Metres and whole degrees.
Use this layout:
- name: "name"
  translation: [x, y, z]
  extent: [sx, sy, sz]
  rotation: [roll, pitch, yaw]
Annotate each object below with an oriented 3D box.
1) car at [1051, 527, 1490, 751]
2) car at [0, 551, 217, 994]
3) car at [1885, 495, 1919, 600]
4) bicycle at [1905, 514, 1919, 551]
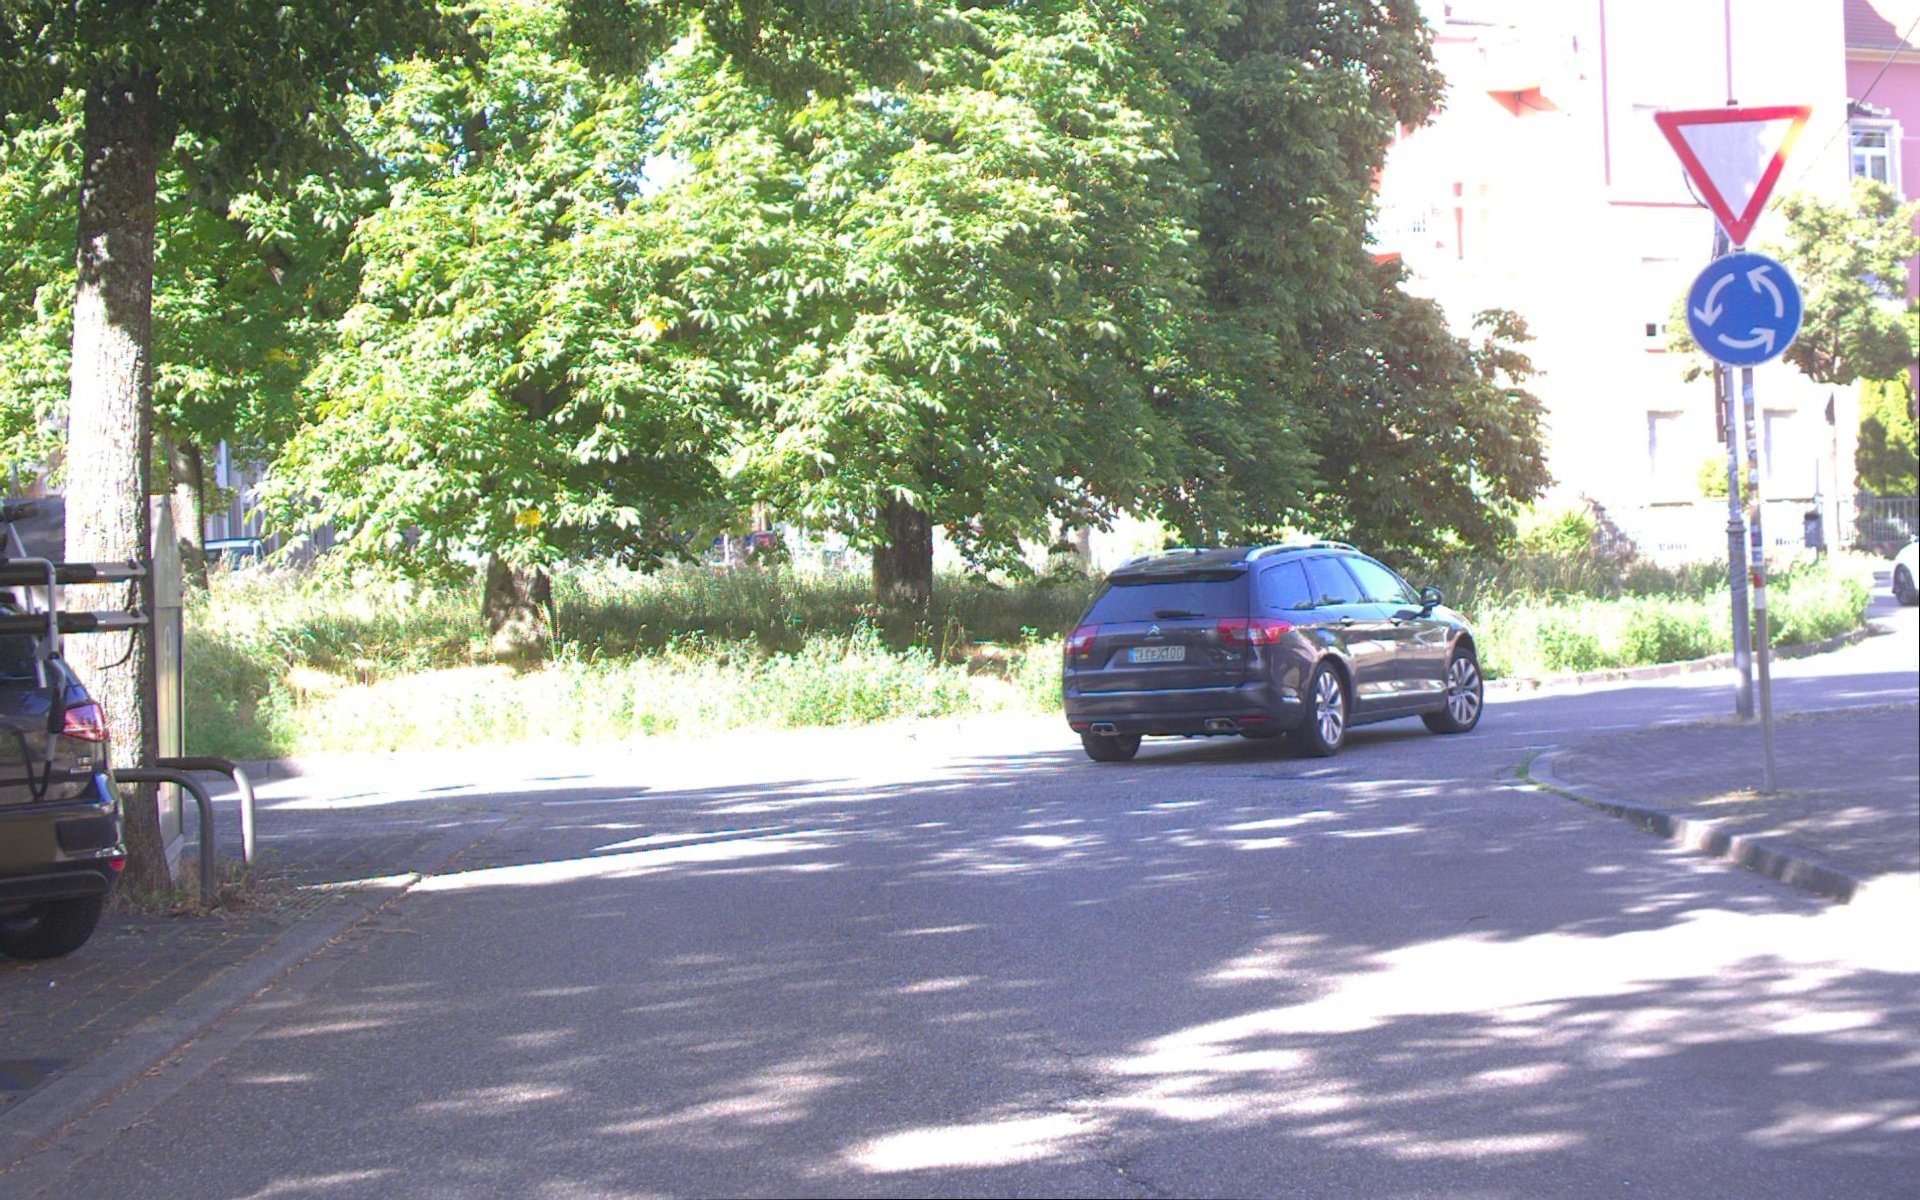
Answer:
- name: "car"
  translation: [2.339, 0.244, 24.888]
  extent: [1.717, 1.478, 4.138]
  rotation: [-1, 0, 27]
- name: "car"
  translation: [-4.812, 0.603, 12.804]
  extent: [4.138, 1.476, 1.772]
  rotation: [-1, 0, 39]
- name: "car"
  translation: [15.297, -0.819, 50.600]
  extent: [1.714, 1.558, 3.772]
  rotation: [-2, 0, -11]
- name: "bicycle"
  translation: [21.016, -1.462, 73.711]
  extent: [0.477, 0.797, 2.029]
  rotation: [-3, 1, -14]
